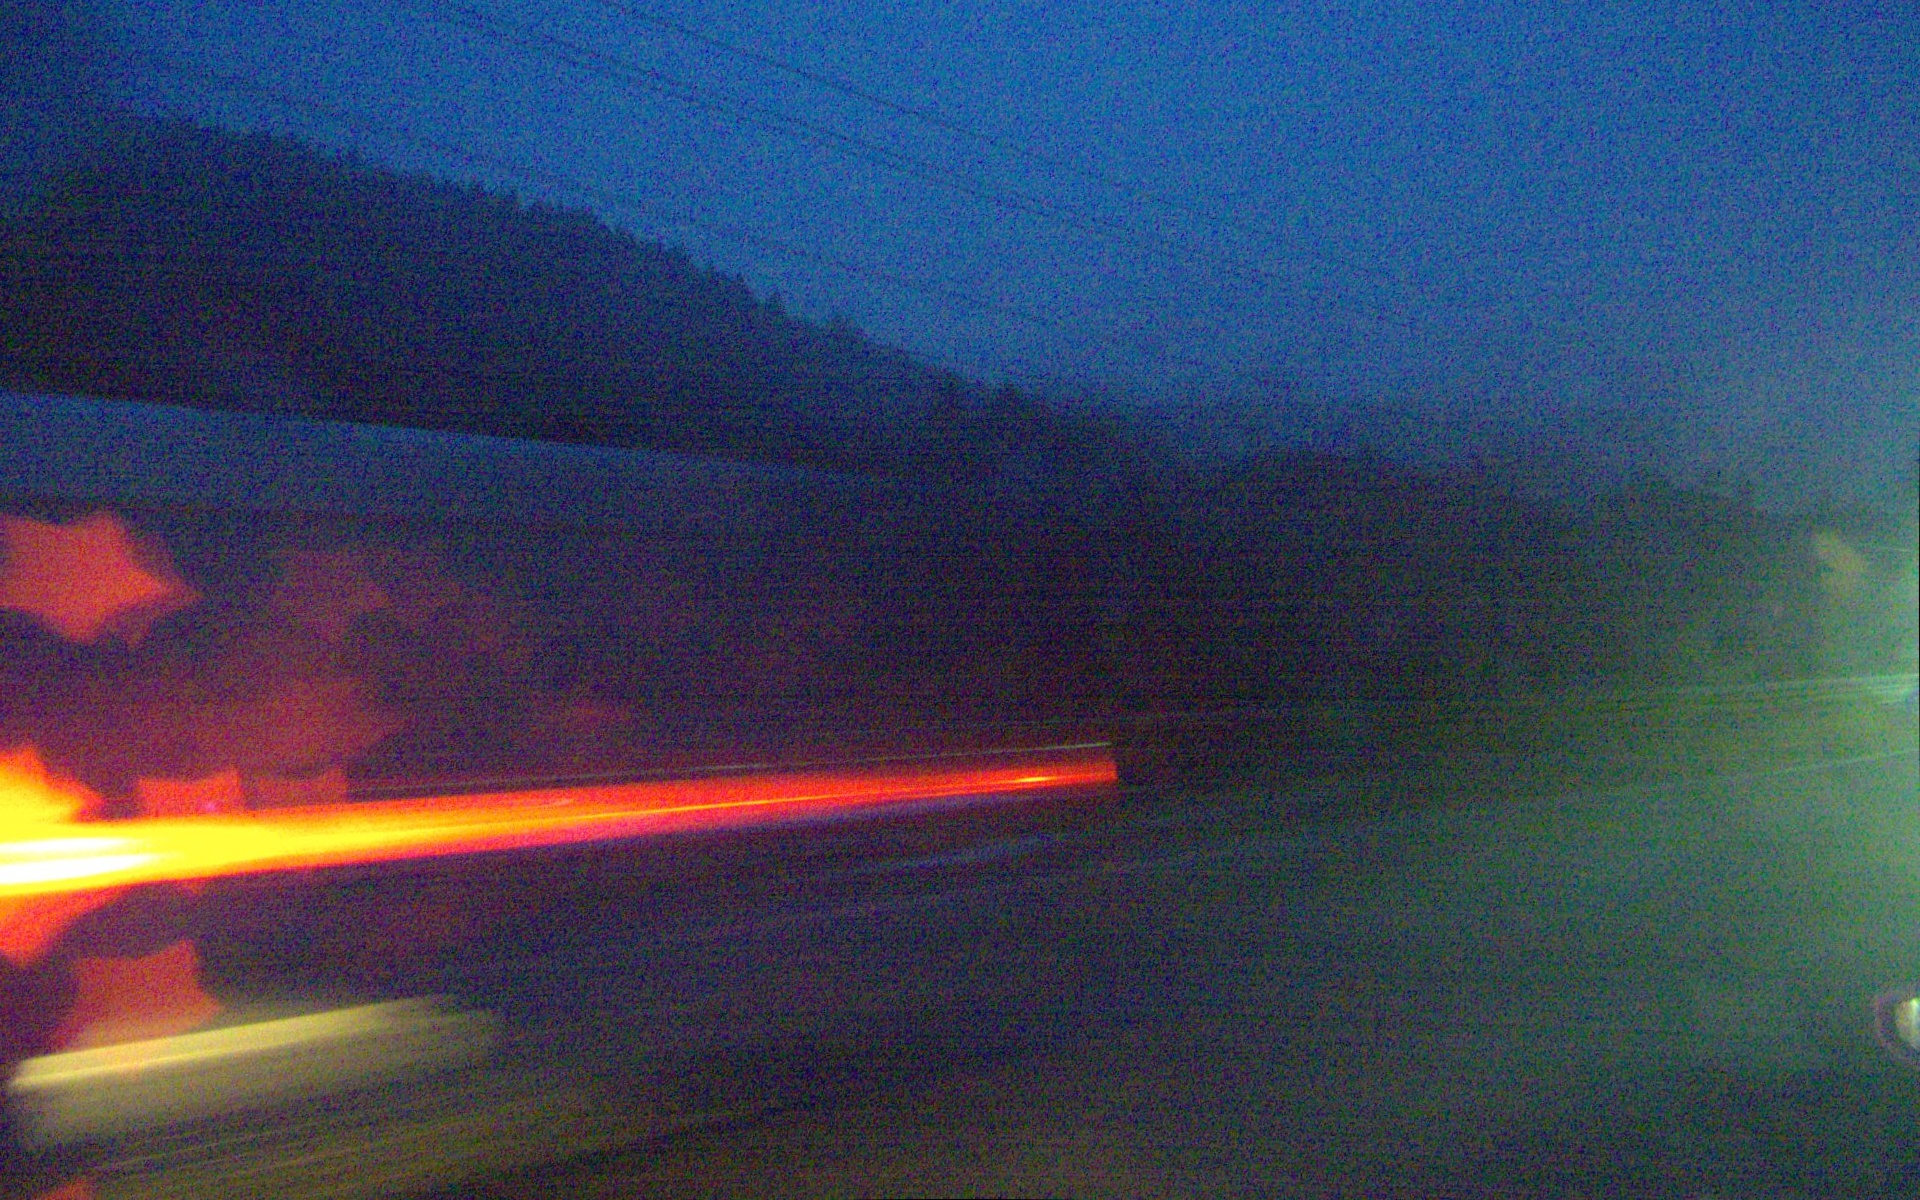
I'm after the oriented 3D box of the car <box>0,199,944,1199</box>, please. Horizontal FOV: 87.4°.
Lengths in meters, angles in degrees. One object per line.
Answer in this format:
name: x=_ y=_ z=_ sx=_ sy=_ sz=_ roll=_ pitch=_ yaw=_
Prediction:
car: x=-2.242 y=0.458 z=1.495 sx=3.954 sy=1.847 sz=1.983 roll=2 pitch=1 yaw=-31
